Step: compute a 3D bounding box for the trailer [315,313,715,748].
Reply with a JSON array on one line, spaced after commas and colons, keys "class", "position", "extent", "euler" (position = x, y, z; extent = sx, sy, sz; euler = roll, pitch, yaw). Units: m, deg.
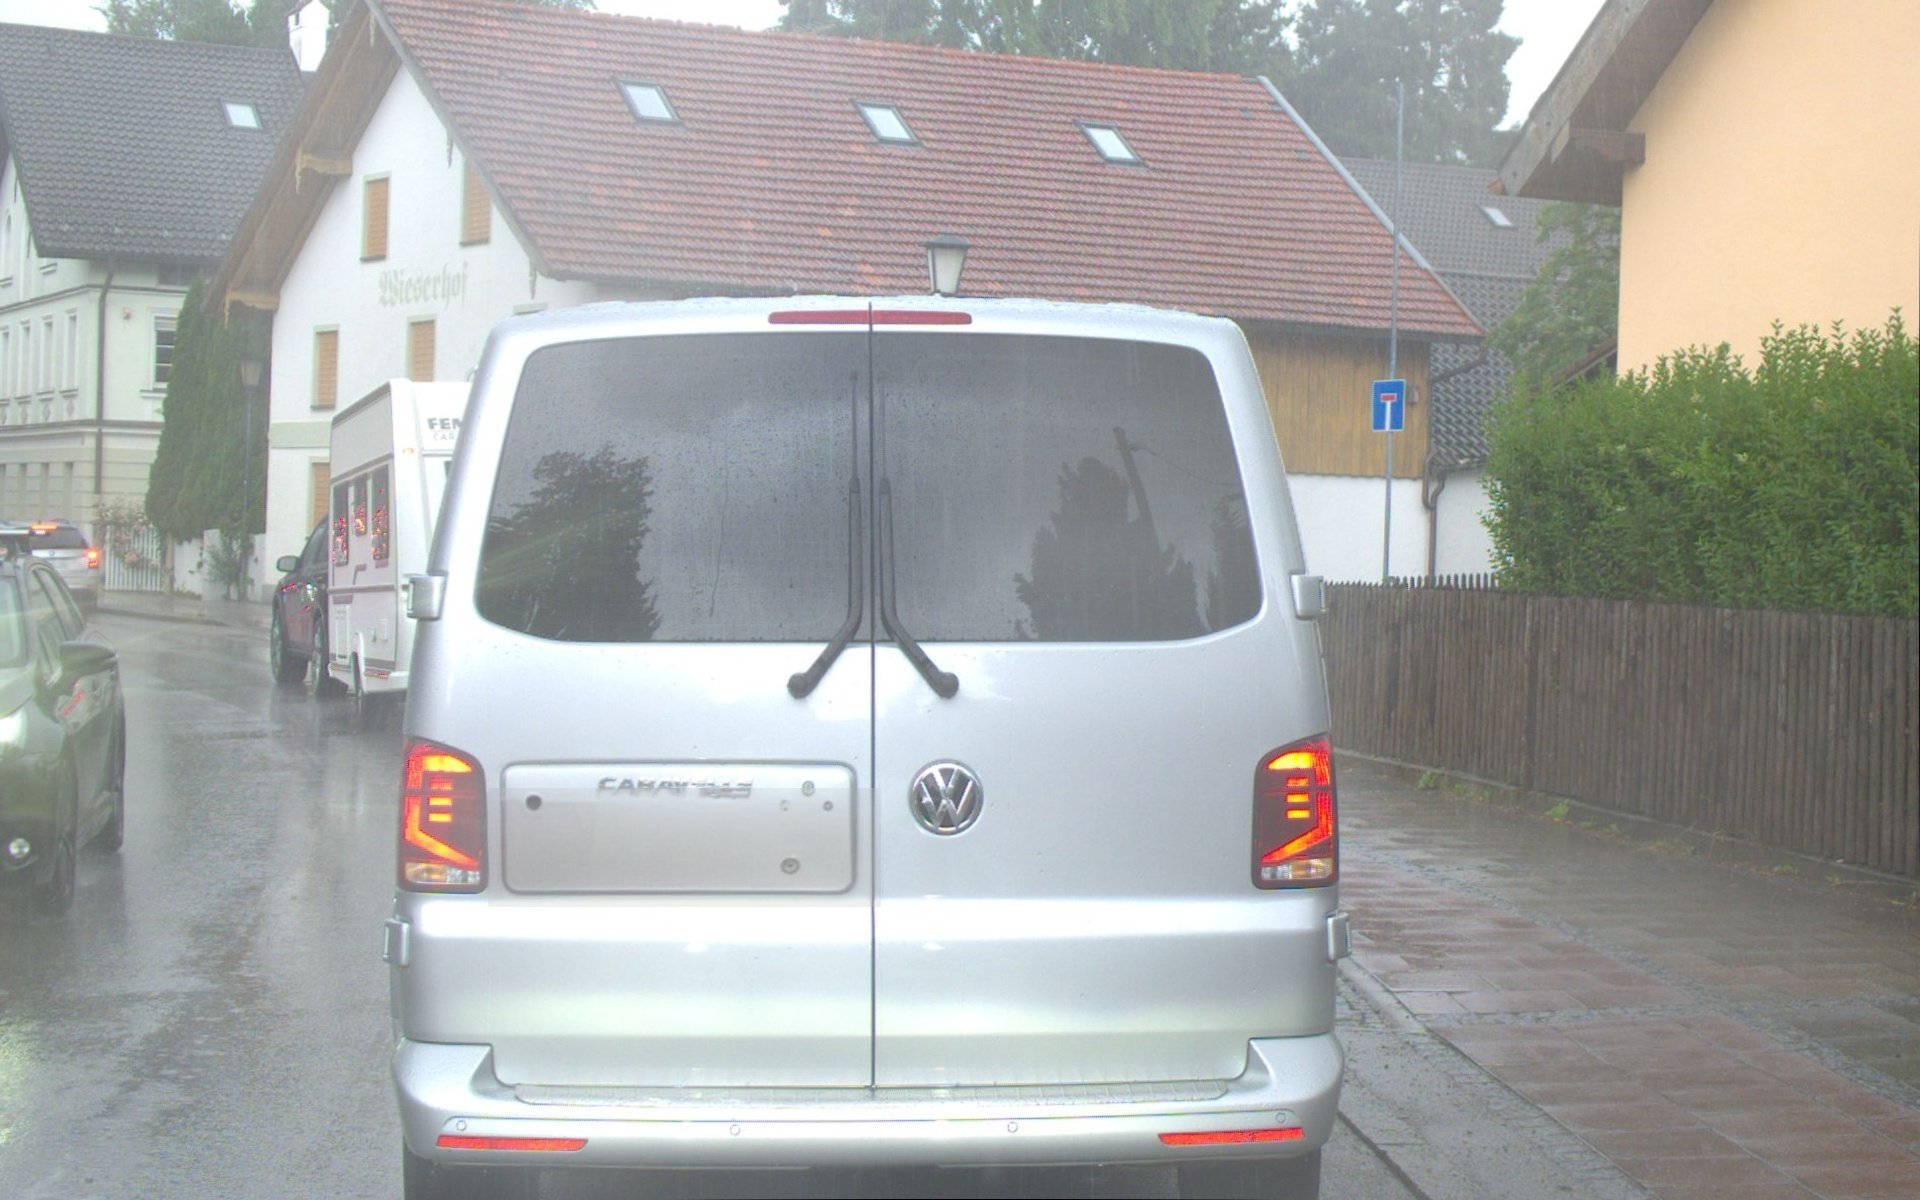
[{"class": "trailer", "position": [-3.537, -0.517, 26.103], "extent": [2.270, 2.894, 6.134], "euler": [0, 1, -14]}]

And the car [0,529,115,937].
[{"class": "car", "position": [-4.562, 0.458, 14.694], "extent": [1.638, 1.515, 4.189], "euler": [0, 1, -11]}]

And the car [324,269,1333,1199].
[{"class": "car", "position": [-0.246, 0.353, 8.609], "extent": [1.776, 1.956, 5.074], "euler": [0, 1, 0]}]

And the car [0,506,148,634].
[{"class": "car", "position": [-14.702, -0.490, 54.990], "extent": [2.168, 1.893, 5.015], "euler": [2, 0, -27]}]

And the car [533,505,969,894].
[{"class": "car", "position": [-1.170, 0.354, 16.953], "extent": [1.708, 1.578, 4.687], "euler": [-1, 2, -9]}]

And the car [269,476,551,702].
[{"class": "car", "position": [-5.140, -0.135, 31.547], "extent": [2.053, 1.892, 5.177], "euler": [0, 1, -15]}]

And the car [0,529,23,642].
[{"class": "car", "position": [-18.135, -0.353, 60.492], "extent": [2.168, 1.892, 5.015], "euler": [2, 1, -27]}]
